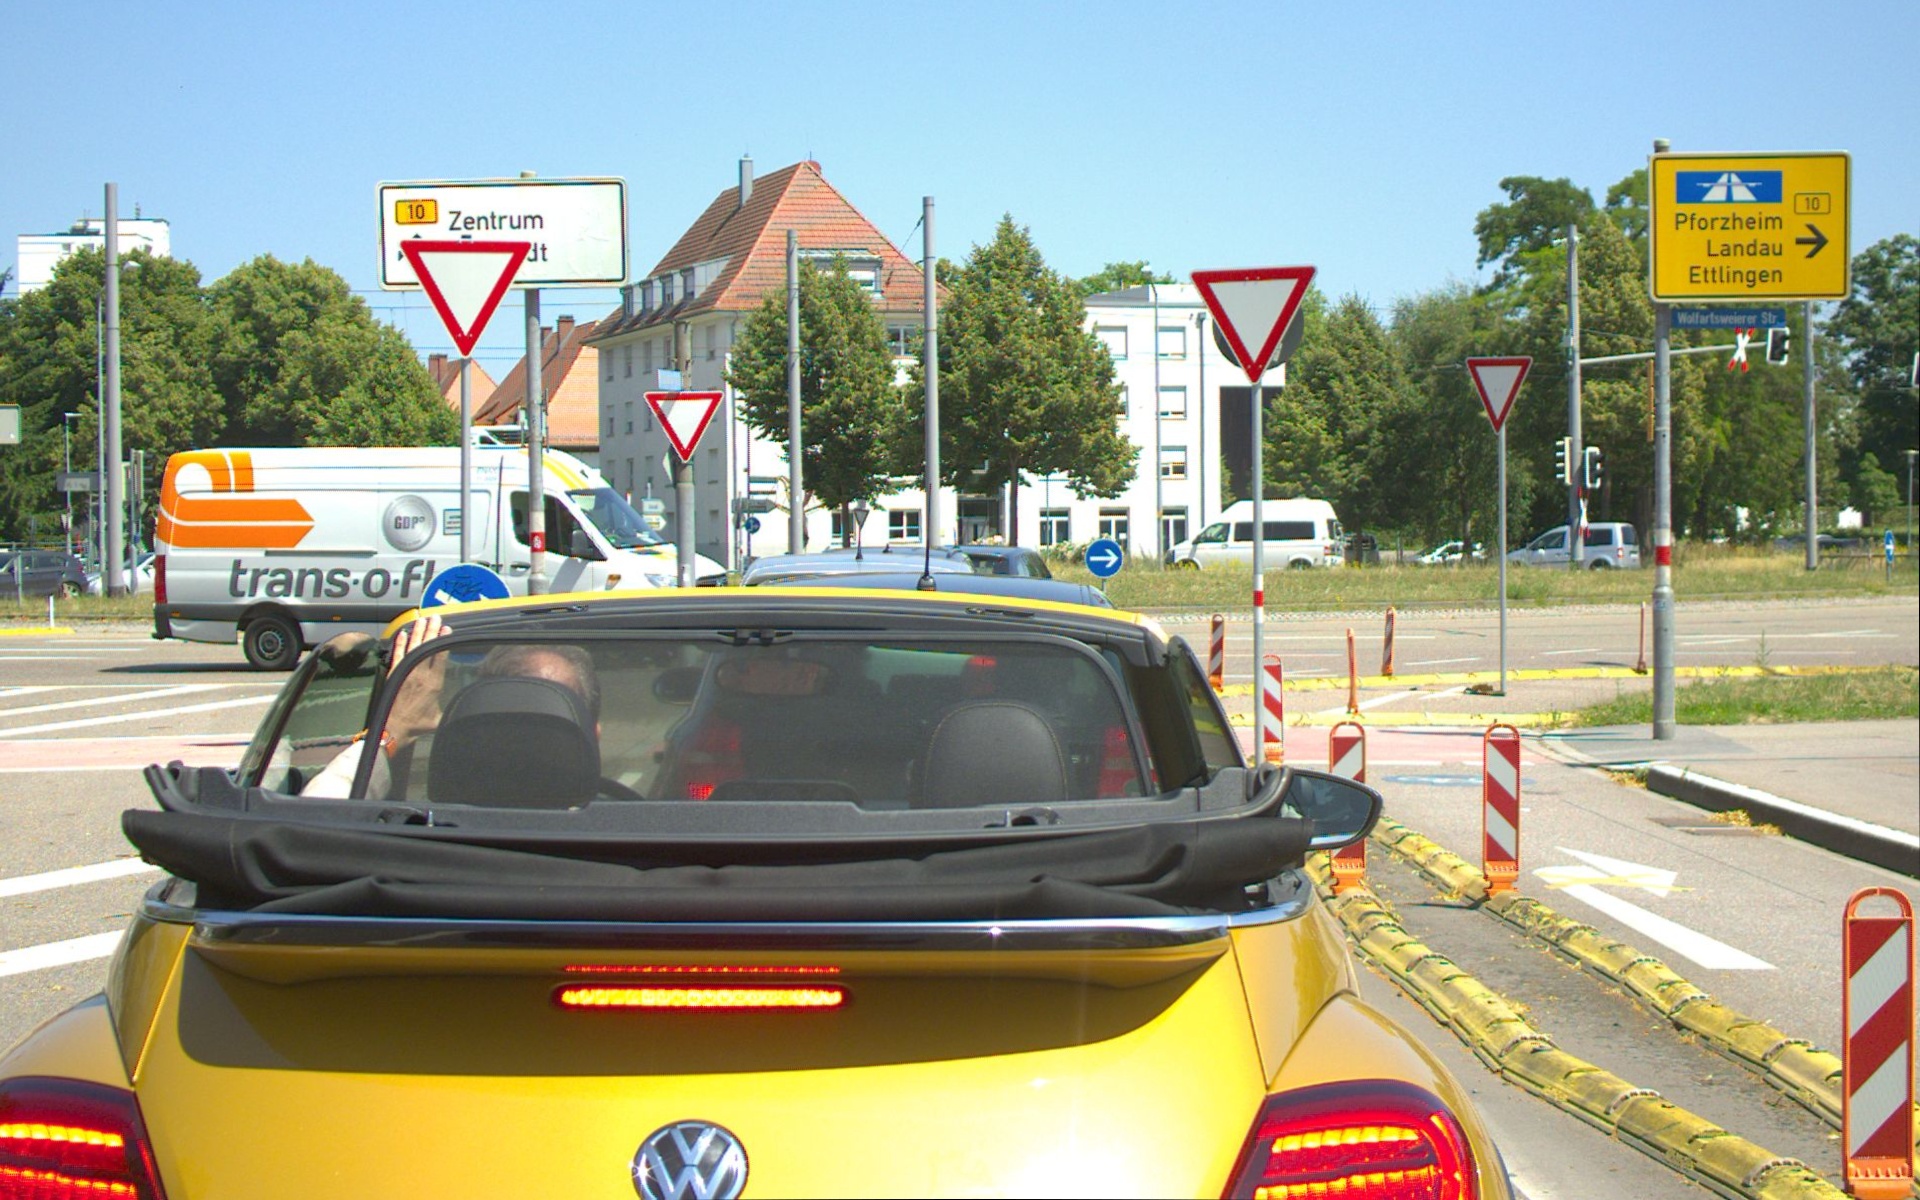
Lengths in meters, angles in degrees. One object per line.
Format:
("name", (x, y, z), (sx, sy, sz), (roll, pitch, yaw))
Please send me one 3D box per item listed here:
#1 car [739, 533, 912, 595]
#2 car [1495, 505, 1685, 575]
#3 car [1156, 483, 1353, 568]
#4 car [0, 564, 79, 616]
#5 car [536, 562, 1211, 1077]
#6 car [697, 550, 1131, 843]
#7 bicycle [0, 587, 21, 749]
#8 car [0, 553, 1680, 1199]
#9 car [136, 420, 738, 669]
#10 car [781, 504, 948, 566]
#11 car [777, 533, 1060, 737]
("car", (-4.423, -1.179, 113.151), (5.314, 1.955, 1.993), (1, 0, 13))
("car", (19.189, -1.845, 104.809), (5.321, 2.063, 1.990), (1, 1, 35))
("car", (8.531, -2.155, 99.737), (5.317, 2.389, 1.992), (1, 0, 23))
("car", (-25.694, -0.280, 90.908), (4.317, 1.367, 1.752), (0, 1, -34))
("car", (-0.262, 0.587, 11.667), (1.851, 1.361, 4.258), (-1, 1, -1))
("car", (-0.252, 0.444, 18.621), (2.065, 1.377, 4.258), (1, 1, -1))
("bicycle", (-8.223, 0.523, 26.193), (2.094, 1.217, 0.633), (0, 1, 22))
("car", (-0.285, 0.684, 5.143), (1.765, 1.476, 4.258), (1, 1, -1))
("car", (-6.249, -0.687, 41.096), (6.866, 2.818, 1.999), (1, 0, 16))
("car", (-3.156, -2.130, 112.884), (5.309, 1.955, 1.994), (1, 0, -7))
("car", (-0.332, 0.213, 27.615), (2.065, 1.476, 4.543), (-1, 1, -1))
